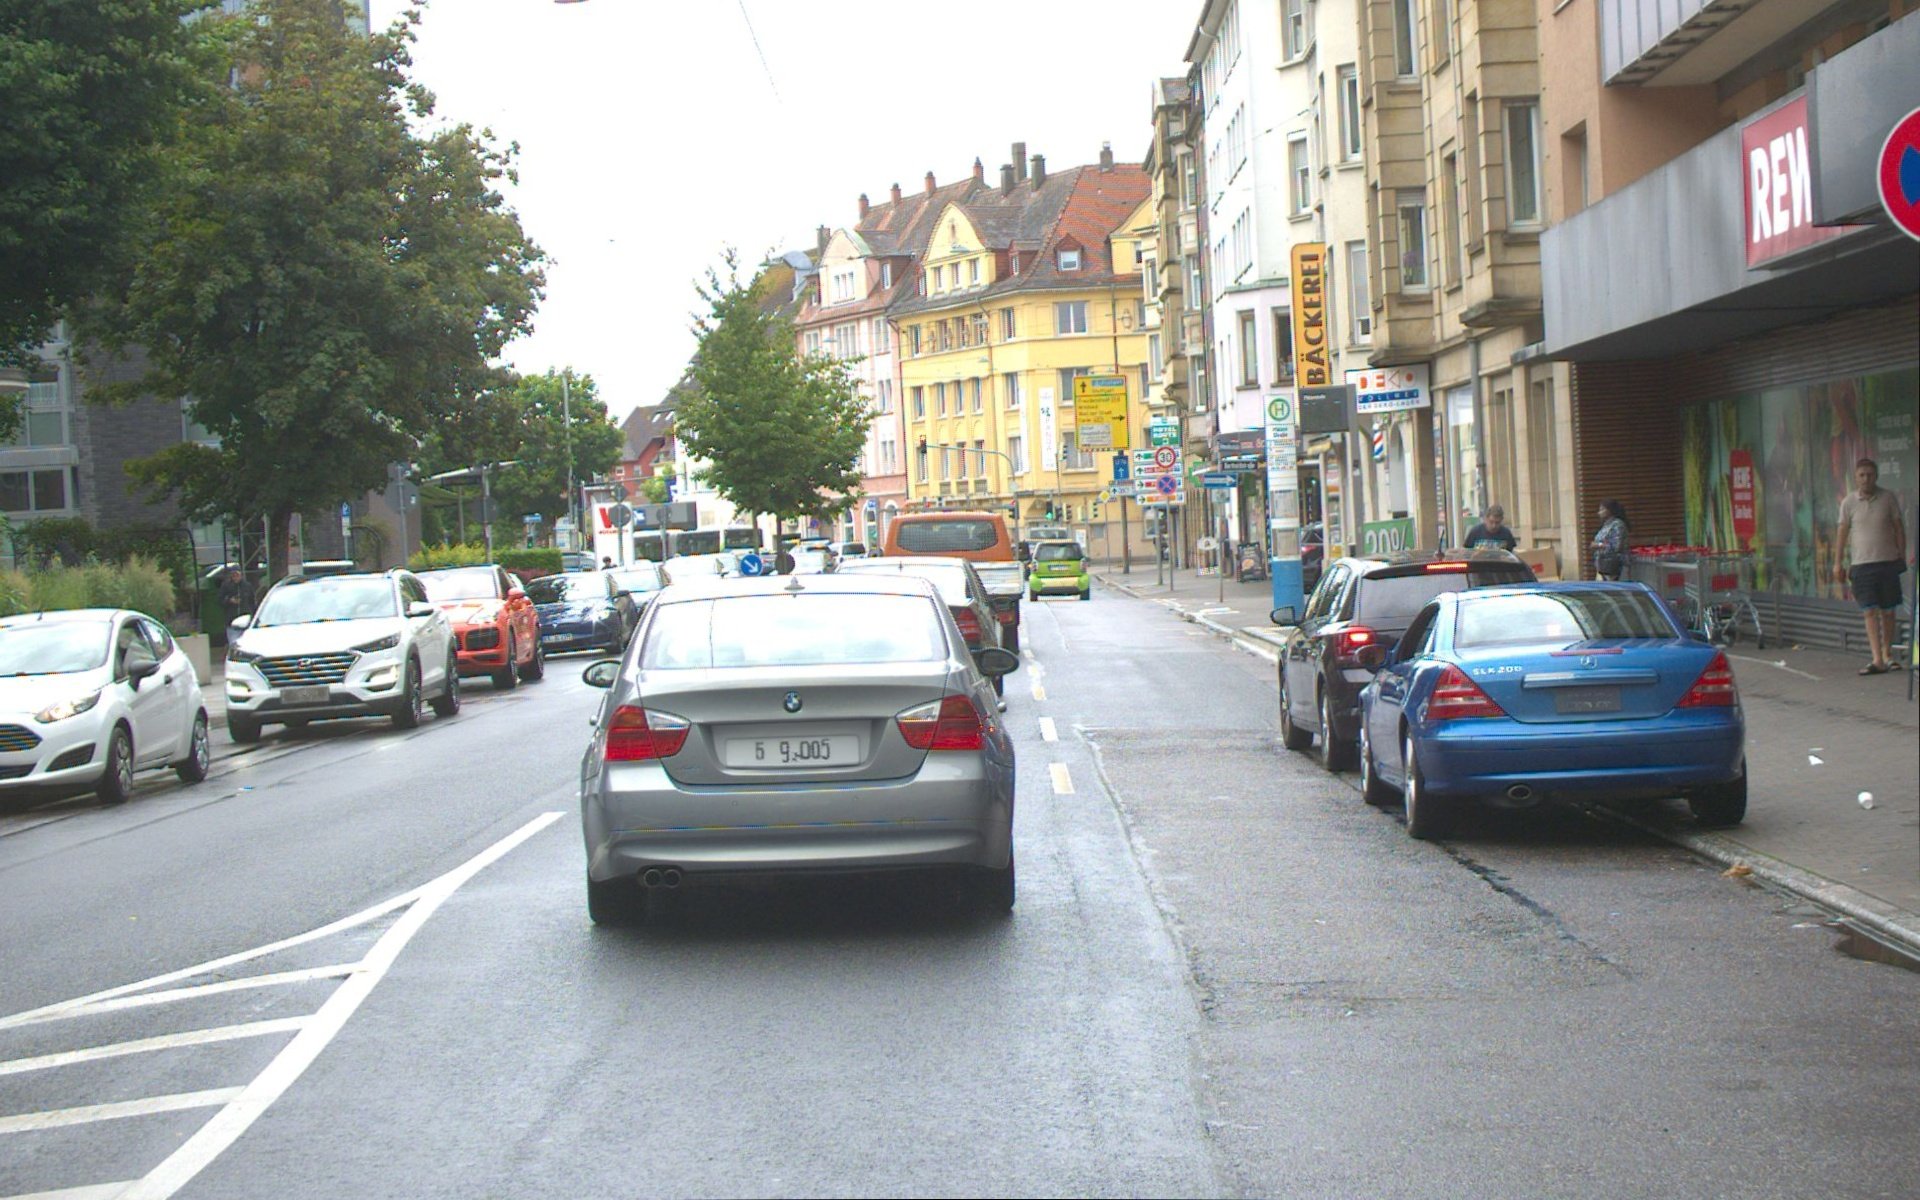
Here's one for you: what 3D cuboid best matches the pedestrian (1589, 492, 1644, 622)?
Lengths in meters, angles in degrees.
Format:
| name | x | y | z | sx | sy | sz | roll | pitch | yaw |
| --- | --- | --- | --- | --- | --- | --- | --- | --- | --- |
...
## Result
| name | x | y | z | sx | sy | sz | roll | pitch | yaw |
| --- | --- | --- | --- | --- | --- | --- | --- | --- | --- |
| pedestrian | 7.299 | -0.465 | 38.190 | 0.565 | 1.416 | 0.795 | 0 | -1 | 14 |

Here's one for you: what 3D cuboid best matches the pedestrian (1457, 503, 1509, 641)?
| name | x | y | z | sx | sy | sz | roll | pitch | yaw |
| --- | --- | --- | --- | --- | --- | --- | --- | --- | --- |
| pedestrian | 5.437 | -0.285 | 35.718 | 0.522 | 1.416 | 0.430 | 0 | -1 | 10 |

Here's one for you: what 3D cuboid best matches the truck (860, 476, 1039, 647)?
| name | x | y | z | sx | sy | sz | roll | pitch | yaw |
| --- | --- | --- | --- | --- | --- | --- | --- | --- | --- |
| truck | -0.191 | -0.464 | 45.887 | 2.215 | 2.109 | 4.652 | 1 | -1 | -2 |

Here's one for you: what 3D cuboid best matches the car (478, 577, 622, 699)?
| name | x | y | z | sx | sy | sz | roll | pitch | yaw |
| --- | --- | --- | --- | --- | --- | --- | --- | --- | --- |
| car | -6.975 | 0.663 | 58.880 | 1.993 | 2.007 | 4.000 | 0 | -1 | 0 |

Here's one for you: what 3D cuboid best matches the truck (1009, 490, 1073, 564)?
| name | x | y | z | sx | sy | sz | roll | pitch | yaw |
| --- | --- | --- | --- | --- | --- | --- | --- | --- | --- |
| truck | 2.986 | -2.694 | 127.821 | 2.216 | 2.536 | 4.779 | 0 | -1 | 0 |

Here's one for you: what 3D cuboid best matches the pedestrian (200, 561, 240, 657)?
| name | x | y | z | sx | sy | sz | roll | pitch | yaw |
| --- | --- | --- | --- | --- | --- | --- | --- | --- | --- |
| pedestrian | -15.544 | 0.190 | 72.226 | 0.797 | 2.007 | 0.536 | 1 | -1 | -12 |

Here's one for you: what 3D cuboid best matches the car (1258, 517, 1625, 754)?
| name | x | y | z | sx | sy | sz | roll | pitch | yaw |
| --- | --- | --- | --- | --- | --- | --- | --- | --- | --- |
| car | 3.290 | 0.271 | 24.260 | 1.993 | 1.514 | 4.000 | -1 | -1 | 0 |

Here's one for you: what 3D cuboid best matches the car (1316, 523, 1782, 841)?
| name | x | y | z | sx | sy | sz | roll | pitch | yaw |
| --- | --- | --- | --- | --- | --- | --- | --- | --- | --- |
| car | 3.073 | 0.395 | 18.724 | 1.809 | 1.514 | 4.000 | 1 | 0 | 0 |

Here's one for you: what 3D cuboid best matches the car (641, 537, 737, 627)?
| name | x | y | z | sx | sy | sz | roll | pitch | yaw |
| --- | --- | --- | --- | --- | --- | --- | --- | --- | --- |
| car | -6.428 | -0.403 | 81.934 | 1.993 | 2.007 | 4.000 | 0 | -1 | 0 |

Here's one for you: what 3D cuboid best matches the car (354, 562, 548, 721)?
| name | x | y | z | sx | sy | sz | roll | pitch | yaw |
| --- | --- | --- | --- | --- | --- | --- | --- | --- | --- |
| car | -6.706 | 0.565 | 45.693 | 1.993 | 2.007 | 4.000 | 0 | -1 | 0 |

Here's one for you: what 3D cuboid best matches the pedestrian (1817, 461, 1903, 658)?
| name | x | y | z | sx | sy | sz | roll | pitch | yaw |
| --- | --- | --- | --- | --- | --- | --- | --- | --- | --- |
| pedestrian | 7.690 | -0.339 | 29.400 | 0.615 | 1.655 | 0.754 | 0 | -1 | 7 |

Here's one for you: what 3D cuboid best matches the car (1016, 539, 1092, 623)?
| name | x | y | z | sx | sy | sz | roll | pitch | yaw |
| --- | --- | --- | --- | --- | --- | --- | --- | --- | --- |
| car | 2.369 | -0.451 | 87.291 | 1.705 | 2.007 | 4.000 | 0 | -1 | -2 |

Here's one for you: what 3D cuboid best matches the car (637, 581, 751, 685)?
| name | x | y | z | sx | sy | sz | roll | pitch | yaw |
| --- | --- | --- | --- | --- | --- | --- | --- | --- | --- |
| car | -5.303 | 0.687 | 68.990 | 1.993 | 2.007 | 4.000 | 0 | -1 | 0 |

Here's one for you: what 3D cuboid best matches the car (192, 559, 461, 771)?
| name | x | y | z | sx | sy | sz | roll | pitch | yaw |
| --- | --- | --- | --- | --- | --- | --- | --- | --- | --- |
| car | -6.350 | 0.664 | 34.907 | 1.993 | 2.007 | 4.000 | 0 | -1 | 0 |

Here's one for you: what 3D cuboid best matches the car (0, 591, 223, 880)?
| name | x | y | z | sx | sy | sz | roll | pitch | yaw |
| --- | --- | --- | --- | --- | --- | --- | --- | --- | --- |
| car | -7.029 | 1.008 | 26.084 | 1.993 | 2.007 | 4.000 | -2 | -1 | 0 |

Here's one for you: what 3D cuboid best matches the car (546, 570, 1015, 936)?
| name | x | y | z | sx | sy | sz | roll | pitch | yaw |
| --- | --- | --- | --- | --- | --- | --- | --- | --- | --- |
| car | -0.662 | 0.567 | 14.603 | 1.756 | 1.358 | 3.165 | -1 | 0 | 1 |

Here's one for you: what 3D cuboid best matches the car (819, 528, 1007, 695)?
| name | x | y | z | sx | sy | sz | roll | pitch | yaw |
| --- | --- | --- | --- | --- | --- | --- | --- | --- | --- |
| car | -0.447 | 0.132 | 31.043 | 1.601 | 1.415 | 3.288 | 0 | -1 | -2 |
